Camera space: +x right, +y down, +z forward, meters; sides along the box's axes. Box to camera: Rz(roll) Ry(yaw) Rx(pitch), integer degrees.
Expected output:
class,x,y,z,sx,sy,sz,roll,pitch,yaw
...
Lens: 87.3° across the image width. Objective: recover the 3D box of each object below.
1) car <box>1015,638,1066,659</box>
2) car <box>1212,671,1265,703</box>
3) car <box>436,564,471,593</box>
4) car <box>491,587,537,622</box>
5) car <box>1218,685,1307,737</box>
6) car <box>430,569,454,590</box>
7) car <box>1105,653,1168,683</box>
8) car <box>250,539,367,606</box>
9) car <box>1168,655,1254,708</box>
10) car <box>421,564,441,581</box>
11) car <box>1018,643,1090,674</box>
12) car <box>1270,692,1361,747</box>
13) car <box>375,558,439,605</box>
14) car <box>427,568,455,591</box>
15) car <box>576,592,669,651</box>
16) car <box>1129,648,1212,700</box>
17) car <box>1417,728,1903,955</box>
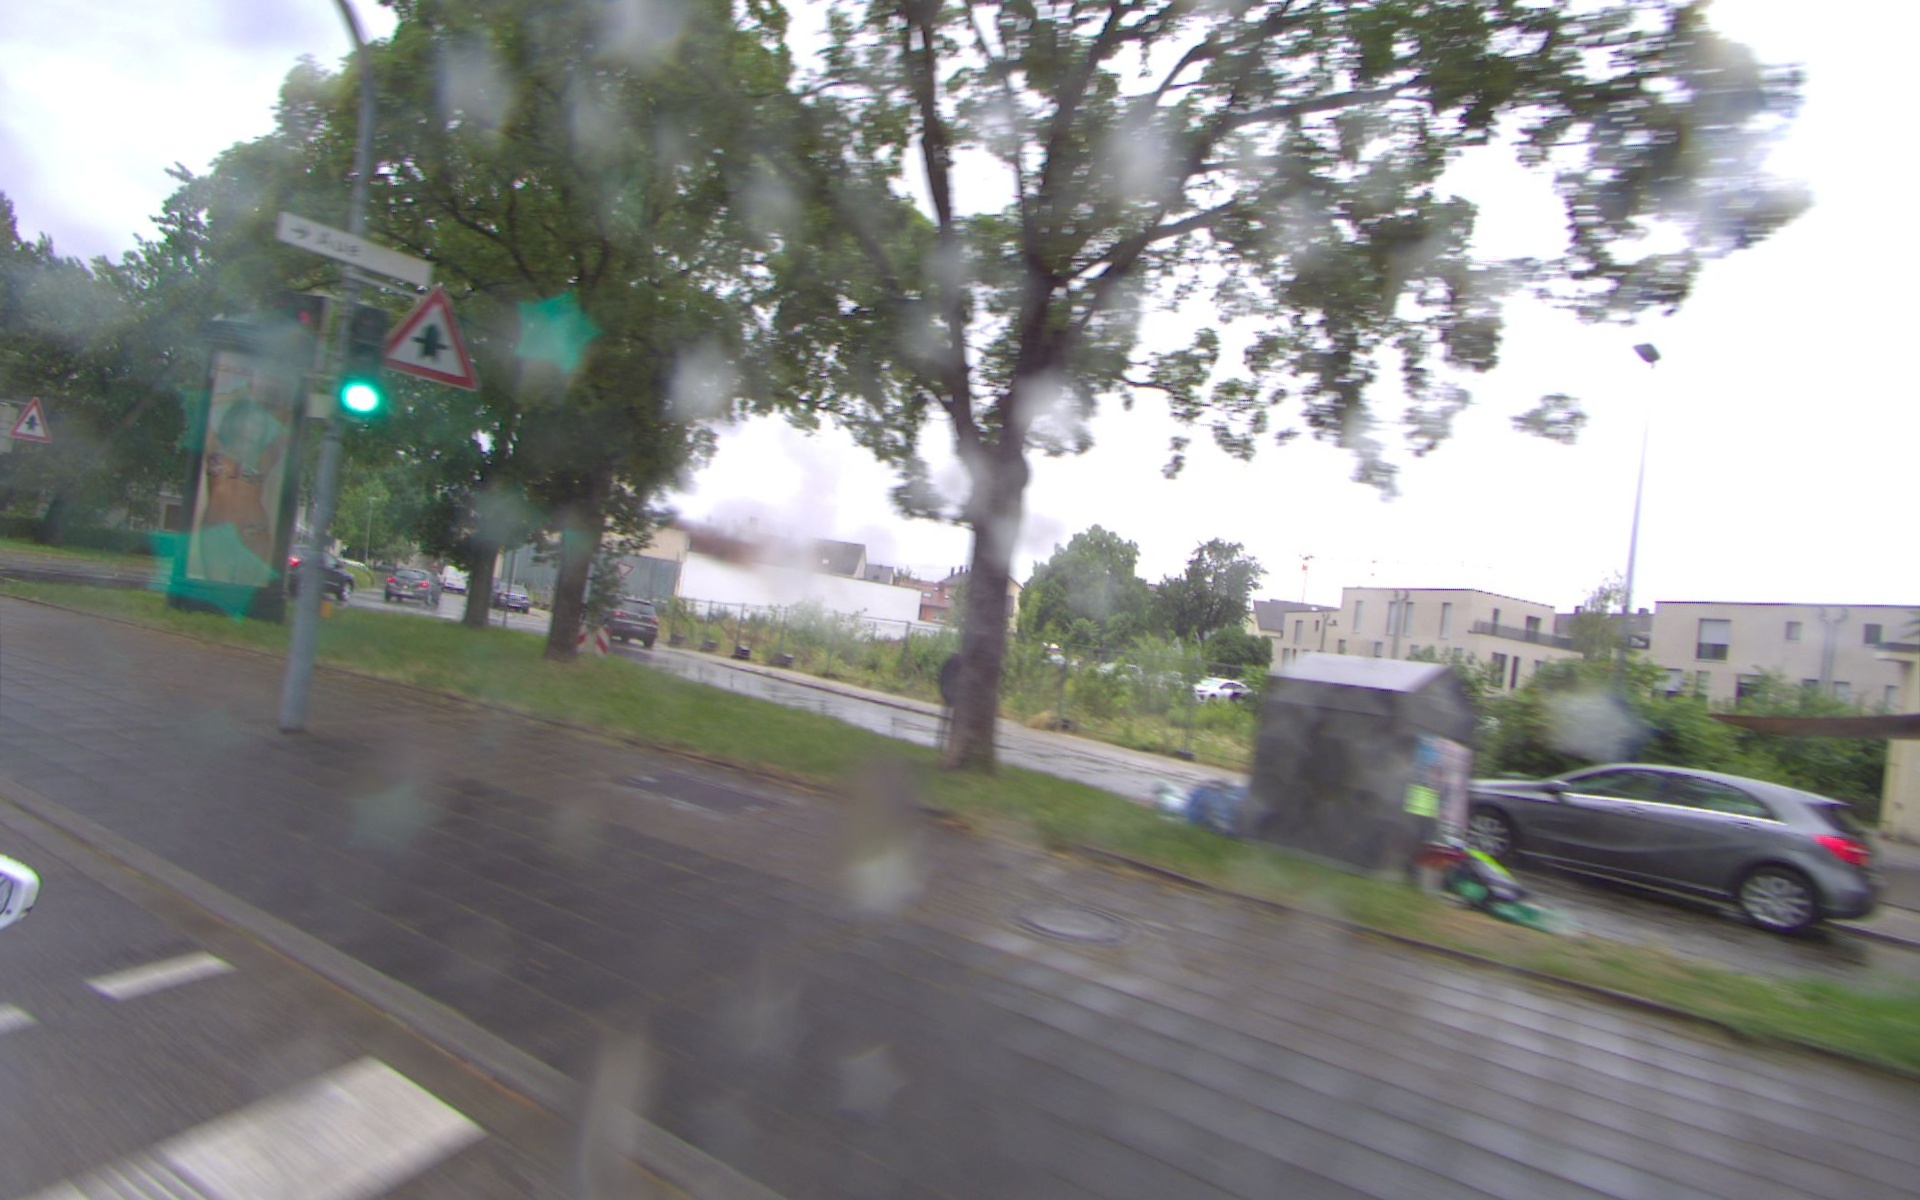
class,x,y,z,sx,sy,sz,roll,pitch,yaw
car,5.846,3.507,73.338,1.747,1.148,4.379,9,-3,-23
car,21.937,6.830,79.103,3.963,1.935,1.658,10,-3,-33
car,-45.403,-1.921,90.205,2.333,2.232,4.580,9,-3,-30
car,-24.690,0.202,55.590,1.958,1.566,4.502,9,-3,-27
car,13.814,5.068,45.823,3.977,1.880,1.977,10,-4,-42
car,-57.835,-2.289,112.341,1.980,2.036,3.970,9,-3,-30
car,11.634,4.474,66.183,4.378,1.424,1.747,11,-4,-44
car,-21.062,-0.819,32.756,1.972,1.763,4.291,9,-3,-18
car,12.166,3.966,48.697,3.977,2.036,1.977,10,-3,-42
car,-72.378,-3.805,137.634,1.980,2.036,3.970,9,-3,-30
car,5.570,3.453,59.675,3.950,1.280,1.760,5,-4,45
car,15.516,5.223,43.843,3.977,1.880,1.977,10,-4,-42
car,-23.777,-0.778,43.417,1.976,1.620,4.066,9,-3,-25
car,-53.137,-2.137,102.955,2.102,2.036,3.970,9,-3,-30
car,-12.443,0.754,36.924,1.845,1.673,4.264,9,-3,-36
car,10.634,3.748,50.799,3.977,2.036,1.977,10,-3,-42
car,7.596,2.498,11.231,1.694,1.449,4.107,10,-4,-43
